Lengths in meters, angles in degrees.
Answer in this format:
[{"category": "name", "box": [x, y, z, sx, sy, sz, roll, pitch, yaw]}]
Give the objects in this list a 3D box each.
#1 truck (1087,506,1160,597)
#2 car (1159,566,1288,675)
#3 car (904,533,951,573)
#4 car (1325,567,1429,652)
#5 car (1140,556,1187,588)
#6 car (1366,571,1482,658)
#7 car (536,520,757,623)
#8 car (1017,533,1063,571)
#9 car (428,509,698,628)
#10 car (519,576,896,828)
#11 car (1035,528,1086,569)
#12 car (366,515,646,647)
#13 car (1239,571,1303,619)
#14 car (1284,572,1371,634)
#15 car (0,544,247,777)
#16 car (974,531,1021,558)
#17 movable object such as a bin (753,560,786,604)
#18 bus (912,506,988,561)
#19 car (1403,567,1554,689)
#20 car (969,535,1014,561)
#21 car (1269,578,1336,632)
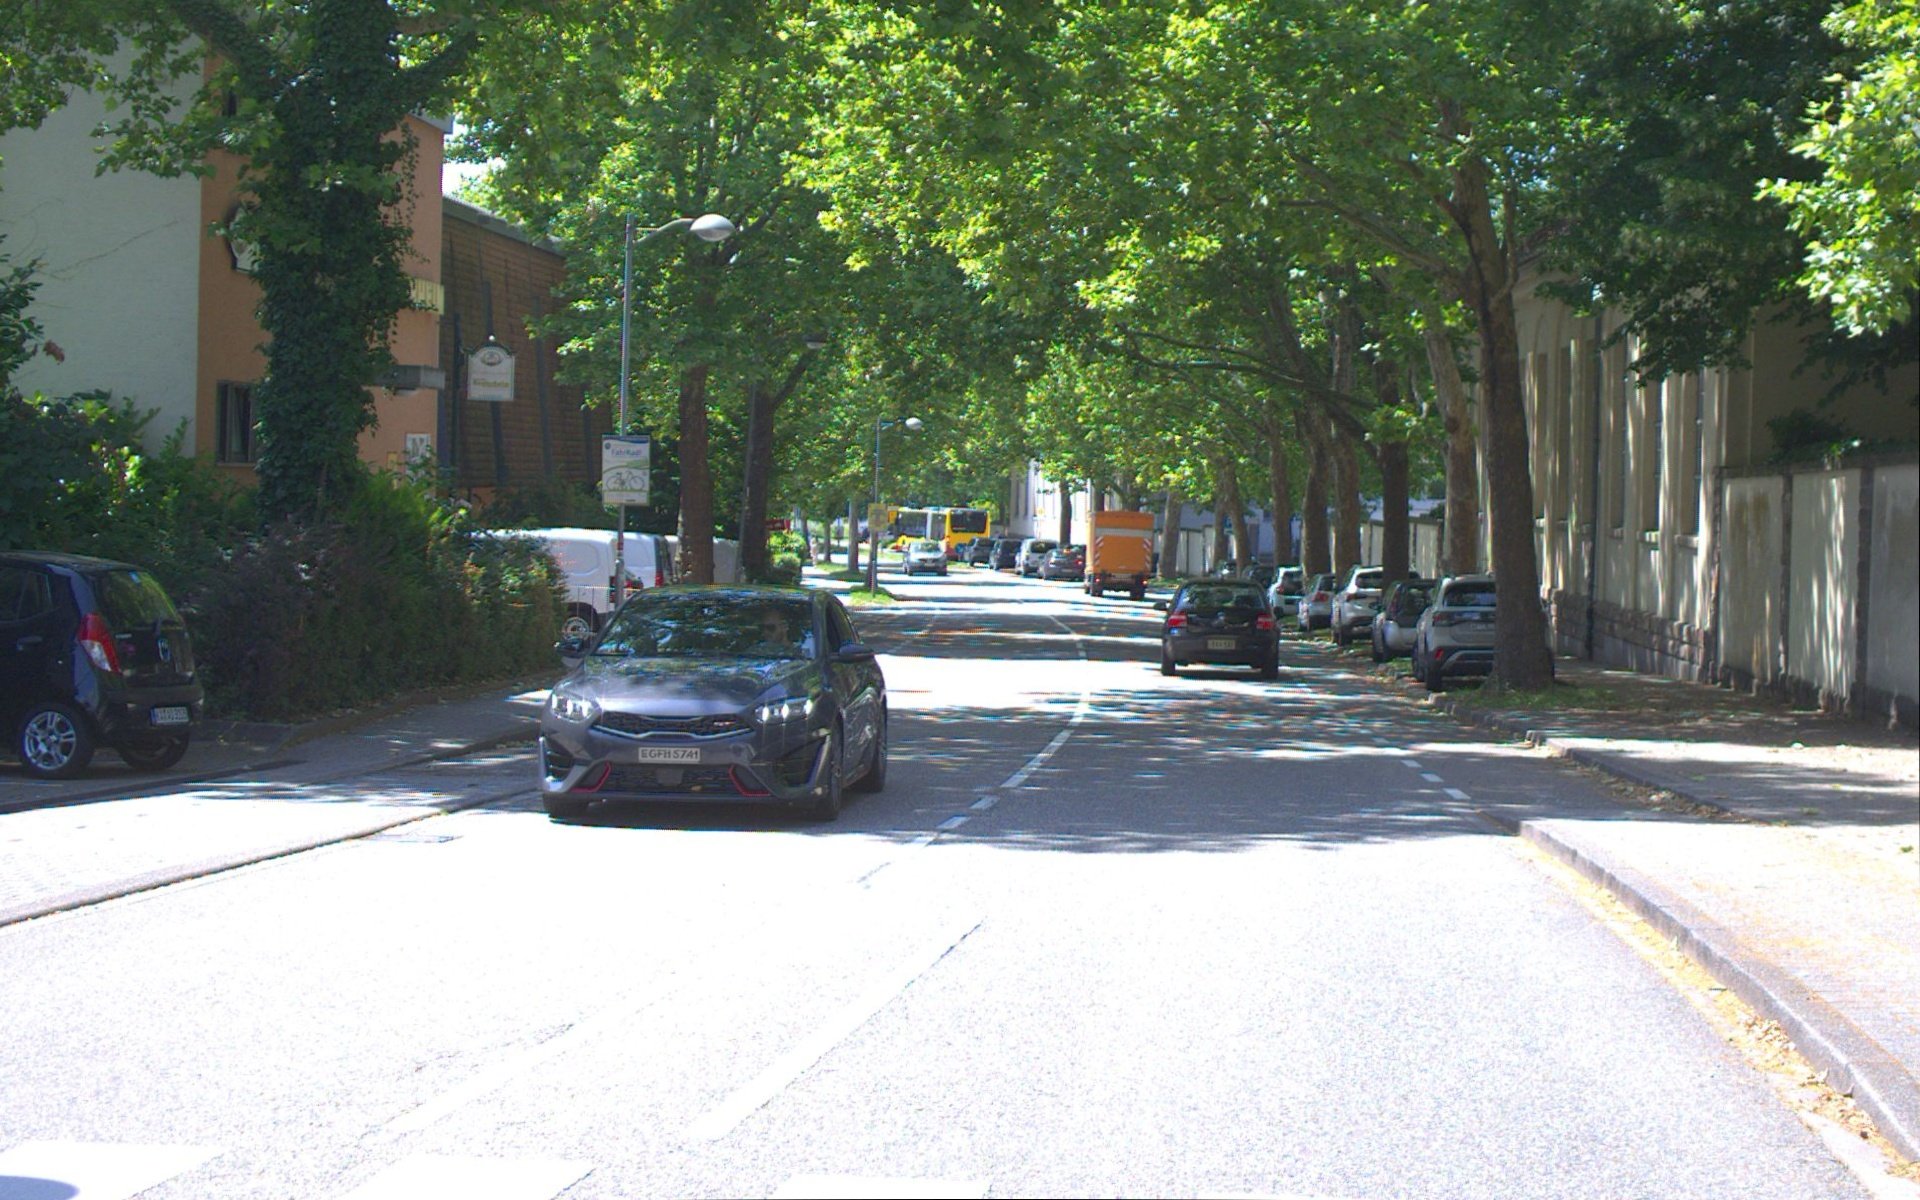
[{"category": "truck", "box": [5.978, -1.744, 126.446, 2.370, 3.123, 5.769, 2, -1, 1]}, {"category": "car", "box": [3.860, 0.265, 50.869, 1.711, 1.442, 4.058, 1, 2, 2]}, {"category": "car", "box": [-1.512, -2.151, 157.626, 1.993, 1.660, 4.000, 2, -1, -2]}, {"category": "car", "box": [8.596, 0.164, 71.151, 1.808, 1.683, 4.751, 0, 1, 3]}, {"category": "car", "box": [9.152, -1.252, 154.865, 1.766, 1.369, 3.730, 2, 0, -2]}, {"category": "car", "box": [8.012, 0.226, 59.589, 1.621, 1.435, 4.432, 0, 1, 3]}, {"category": "car", "box": [-6.219, -0.569, 68.461, 4.128, 1.798, 1.903, 3, 1, 0]}, {"category": "car", "box": [3.783, -2.279, 163.253, 1.879, 1.680, 4.000, 2, -1, -2]}, {"category": "car", "box": [-6.949, -0.560, 60.464, 4.423, 1.798, 1.903, 3, 1, 0]}, {"category": "car", "box": [-1.510, 0.579, 22.139, 1.769, 1.421, 4.392, 1, 0, 4]}, {"category": "car", "box": [4.540, -2.322, 156.026, 1.879, 1.680, 4.000, 2, -1, -4]}, {"category": "car", "box": [-7.014, -0.301, 53.389, 3.987, 1.786, 1.868, 3, 1, 0]}, {"category": "car", "box": [9.846, -0.179, 109.149, 1.766, 1.461, 3.875, 0, 1, 2]}, {"category": "car", "box": [8.730, 0.057, 81.906, 1.766, 1.428, 3.875, 0, 1, 2]}, {"category": "car", "box": [-7.003, 0.368, 24.344, 3.383, 1.541, 1.723, 2, 0, 13]}, {"category": "car", "box": [1.899, -2.809, 175.279, 1.766, 1.369, 3.731, 0, 1, -10]}, {"category": "movable object such as a bin", "box": [-4.808, -0.448, 86.641, 0.734, 1.074, 0.701, 2, 1, 3]}, {"category": "bus", "box": [-0.628, -3.885, 203.157, 2.663, 3.140, 11.200, 1, 0, -9]}, {"category": "car", "box": [7.182, 0.348, 47.955, 1.741, 1.552, 4.779, 0, 1, 4]}, {"category": "car", "box": [1.683, -2.780, 184.102, 1.766, 1.369, 3.731, 0, 1, -9]}, {"category": "car", "box": [9.574, 0.132, 96.392, 1.577, 1.461, 3.875, 0, 1, 2]}]
